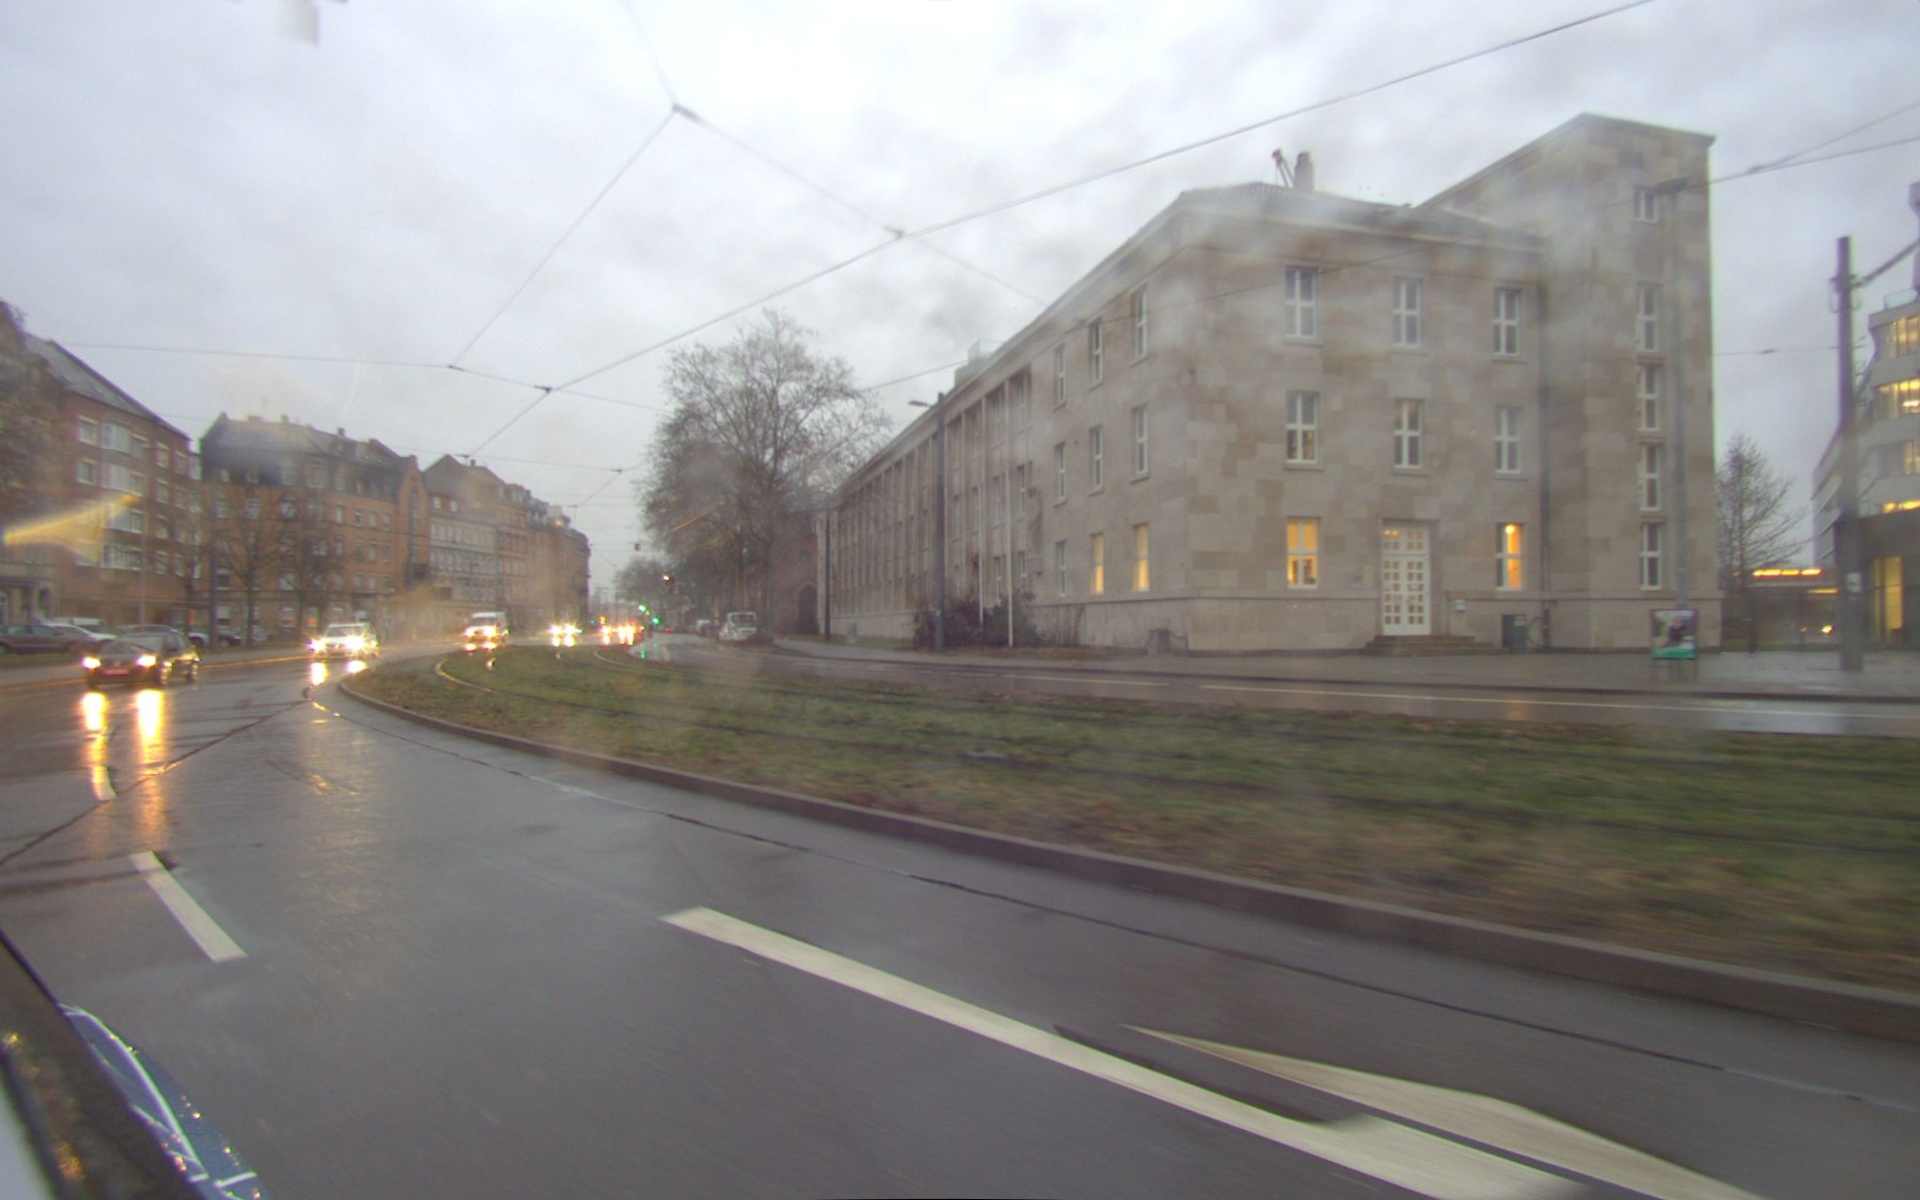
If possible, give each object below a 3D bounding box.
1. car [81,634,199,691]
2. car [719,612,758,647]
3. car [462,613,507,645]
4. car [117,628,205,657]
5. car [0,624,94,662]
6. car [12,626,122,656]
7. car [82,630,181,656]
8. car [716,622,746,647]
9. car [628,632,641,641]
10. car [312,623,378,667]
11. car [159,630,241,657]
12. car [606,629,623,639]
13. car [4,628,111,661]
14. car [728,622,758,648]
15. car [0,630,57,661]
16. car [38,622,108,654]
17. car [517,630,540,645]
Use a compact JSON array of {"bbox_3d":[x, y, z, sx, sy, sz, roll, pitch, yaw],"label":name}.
[{"bbox_3d":[-22.340,1.670,27.702,1.563,1.437,3.143,0,-2,-20],"label":"car"},{"bbox_3d":[-14.054,1.821,63.950,1.966,2.029,4.523,-2,0,-17],"label":"car"},{"bbox_3d":[-38.037,2.300,81.089,2.095,2.398,5.653,-2,0,-13],"label":"car"},{"bbox_3d":[-43.176,2.274,54.727,3.707,1.364,1.604,-2,-1,-40],"label":"car"},{"bbox_3d":[-39.916,1.853,43.625,1.696,1.416,3.818,-2,0,45],"label":"car"},{"bbox_3d":[-40.858,1.858,46.428,3.707,1.343,1.604,1,-2,-40],"label":"car"},{"bbox_3d":[-41.687,2.146,50.956,1.602,1.288,3.712,-2,-3,44],"label":"car"},{"bbox_3d":[-16.773,2.507,73.914,1.796,1.667,3.871,-2,0,-17],"label":"car"},{"bbox_3d":[-69.991,7.818,217.688,1.922,1.829,4.007,0,-1,-9],"label":"car"},{"bbox_3d":[-26.561,1.906,43.793,1.647,1.672,4.161,-2,0,-21],"label":"car"},{"bbox_3d":[-43.932,2.510,58.545,3.707,1.364,1.604,-2,-1,-40],"label":"car"},{"bbox_3d":[-52.716,5.160,154.294,1.867,1.424,3.954,0,-2,-10],"label":"car"},{"bbox_3d":[-42.530,2.080,47.800,3.707,1.341,1.604,-2,-1,-40],"label":"car"},{"bbox_3d":[-12.784,2.043,59.532,1.534,1.439,2.963,0,-1,-15],"label":"car"},{"bbox_3d":[-51.156,2.441,54.784,1.666,1.554,4.011,-2,0,-14],"label":"car"},{"bbox_3d":[-52.809,2.239,60.323,1.647,1.716,3.474,-2,0,-12],"label":"car"},{"bbox_3d":[-50.177,4.339,117.808,1.624,1.763,3.561,0,-2,-9],"label":"car"}]
